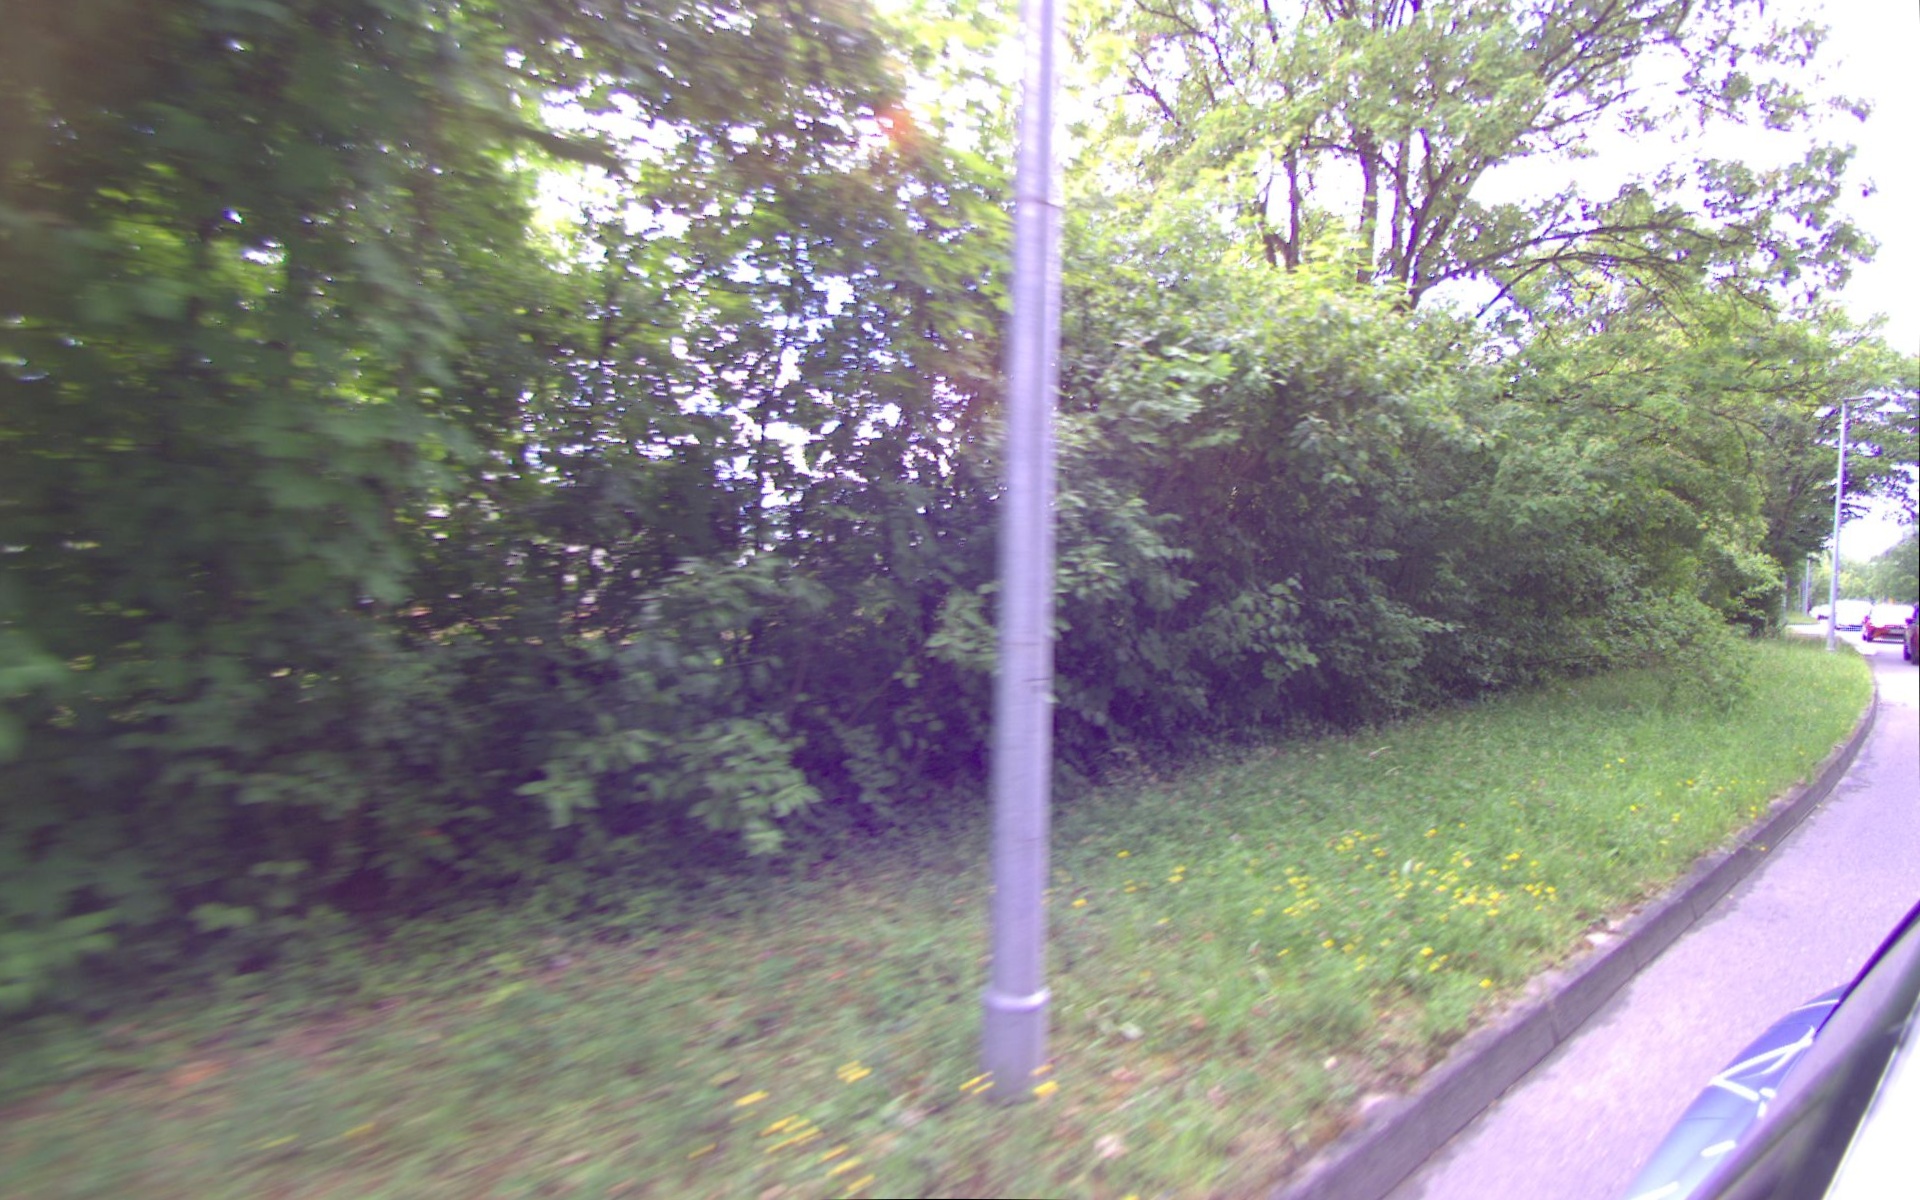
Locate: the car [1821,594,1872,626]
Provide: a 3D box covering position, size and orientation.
[{"bbox_3d":[49.486,0.531,56.543,1.912,1.616,3.843,3,2,39],"label":"car"}]

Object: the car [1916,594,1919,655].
[{"bbox_3d":[26.209,0.671,26.226,1.855,1.638,4.410,1,0,41],"label":"car"}]

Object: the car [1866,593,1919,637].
[{"bbox_3d":[37.405,0.578,40.061,1.991,1.593,3.944,3,2,39],"label":"car"}]
